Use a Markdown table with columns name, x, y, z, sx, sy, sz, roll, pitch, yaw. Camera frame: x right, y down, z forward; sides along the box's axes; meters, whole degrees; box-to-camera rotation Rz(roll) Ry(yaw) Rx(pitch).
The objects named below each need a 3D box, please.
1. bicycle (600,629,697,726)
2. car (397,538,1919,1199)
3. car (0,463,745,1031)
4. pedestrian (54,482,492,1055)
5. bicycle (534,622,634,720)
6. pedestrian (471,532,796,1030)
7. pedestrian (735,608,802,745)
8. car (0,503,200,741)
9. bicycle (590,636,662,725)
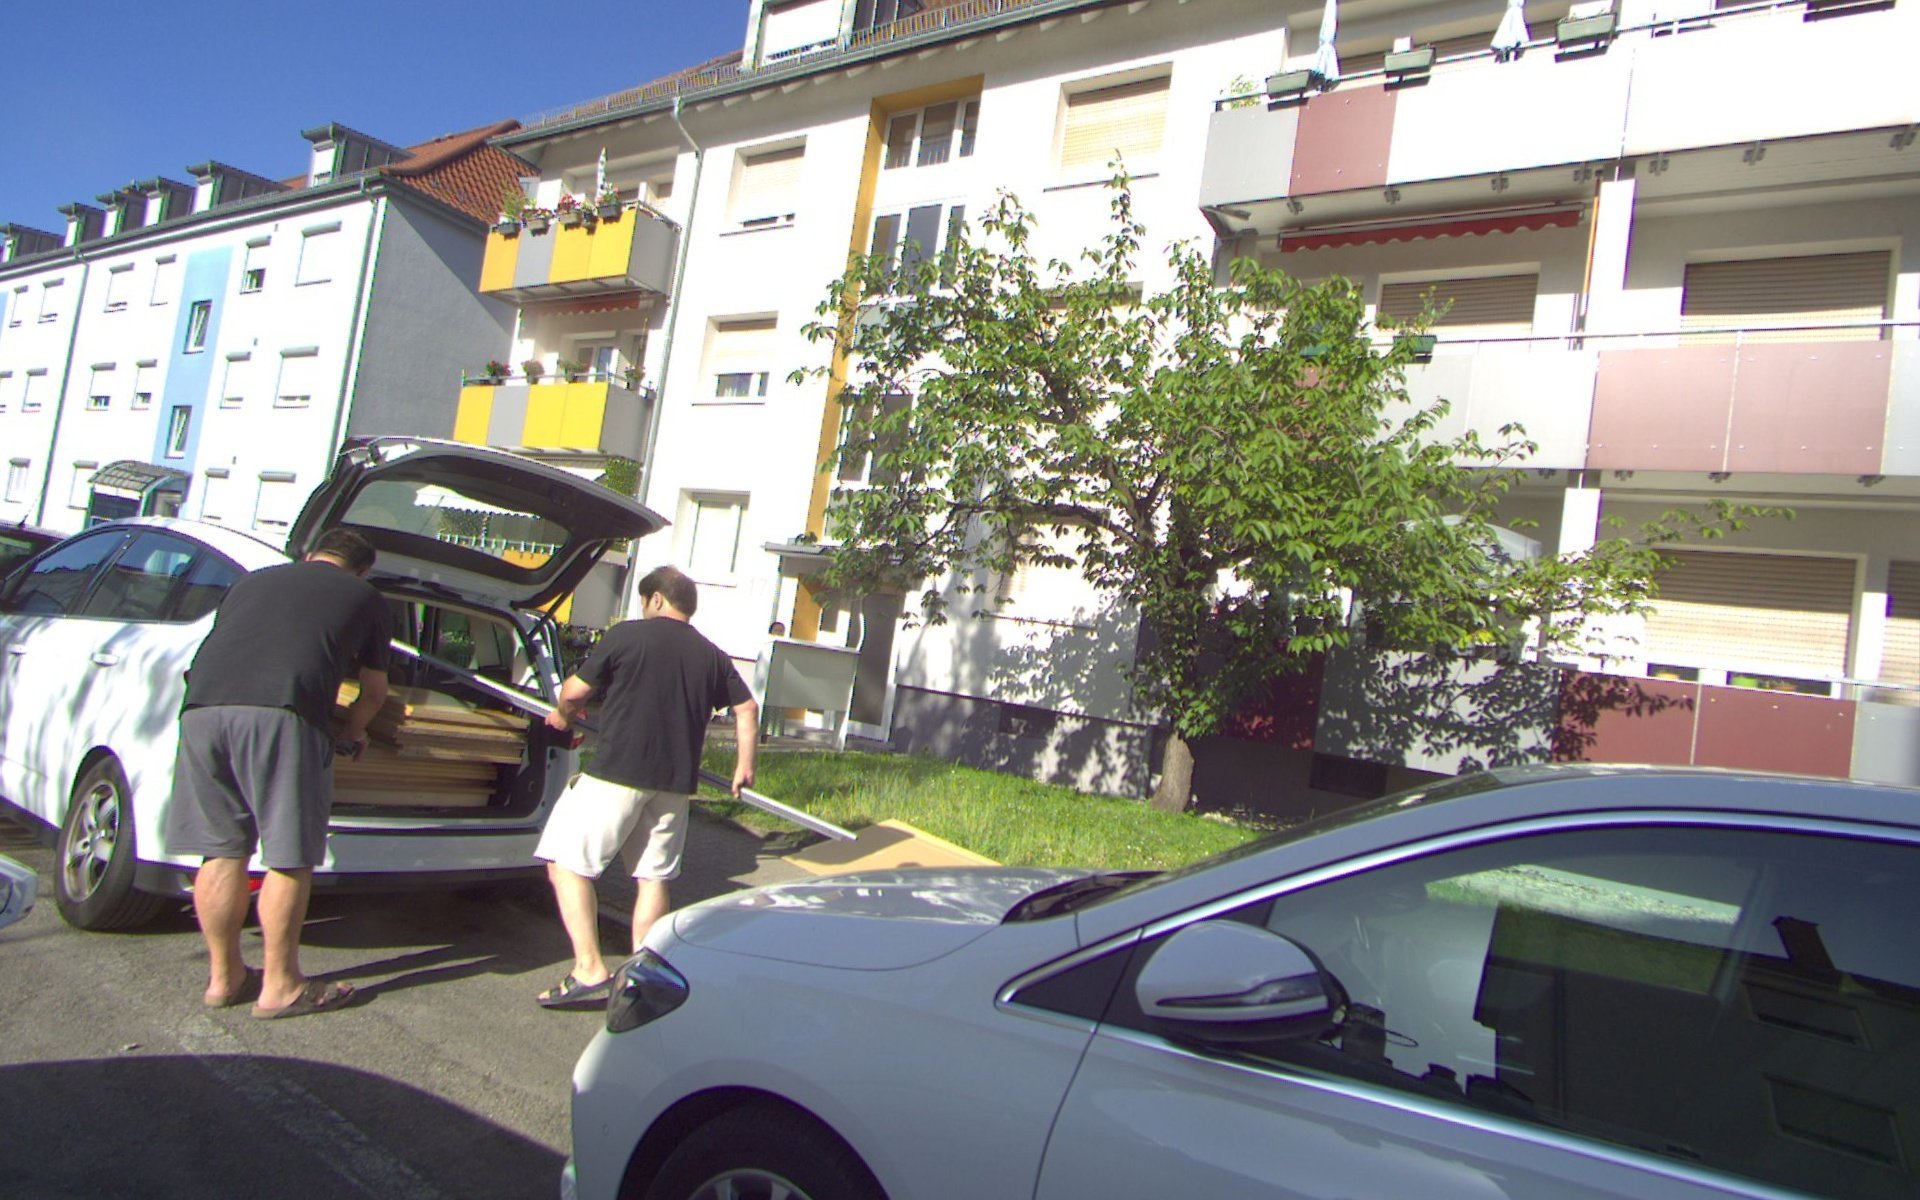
| name | x | y | z | sx | sy | sz | roll | pitch | yaw |
| --- | --- | --- | --- | --- | --- | --- | --- | --- | --- |
| bicycle | -4.298 | 1.056 | 13.851 | 1.252 | 1.145 | 0.404 | 7 | -3 | 33 |
| car | 1.258 | 0.974 | 1.752 | 4.405 | 1.520 | 1.779 | 7 | -5 | 30 |
| car | -3.682 | 0.386 | 5.159 | 4.915 | 1.628 | 2.000 | 6 | -6 | 34 |
| pedestrian | -2.286 | 0.488 | 3.383 | 0.865 | 1.592 | 0.741 | 7 | -2 | 32 |
| bicycle | -4.940 | 0.925 | 13.197 | 1.278 | 1.099 | 0.404 | 7 | -2 | 33 |
| pedestrian | -1.267 | 0.664 | 4.011 | 0.594 | 1.706 | 0.821 | 7 | -2 | 31 |
| pedestrian | -2.191 | 0.881 | 11.517 | 0.354 | 1.511 | 0.451 | 5 | -4 | 32 |
| car | -7.936 | -0.040 | 7.821 | 3.917 | 1.505 | 1.701 | 7 | -6 | 31 |
| bicycle | -4.204 | 1.027 | 12.699 | 0.235 | 1.058 | 0.742 | 7 | -2 | 34 |
